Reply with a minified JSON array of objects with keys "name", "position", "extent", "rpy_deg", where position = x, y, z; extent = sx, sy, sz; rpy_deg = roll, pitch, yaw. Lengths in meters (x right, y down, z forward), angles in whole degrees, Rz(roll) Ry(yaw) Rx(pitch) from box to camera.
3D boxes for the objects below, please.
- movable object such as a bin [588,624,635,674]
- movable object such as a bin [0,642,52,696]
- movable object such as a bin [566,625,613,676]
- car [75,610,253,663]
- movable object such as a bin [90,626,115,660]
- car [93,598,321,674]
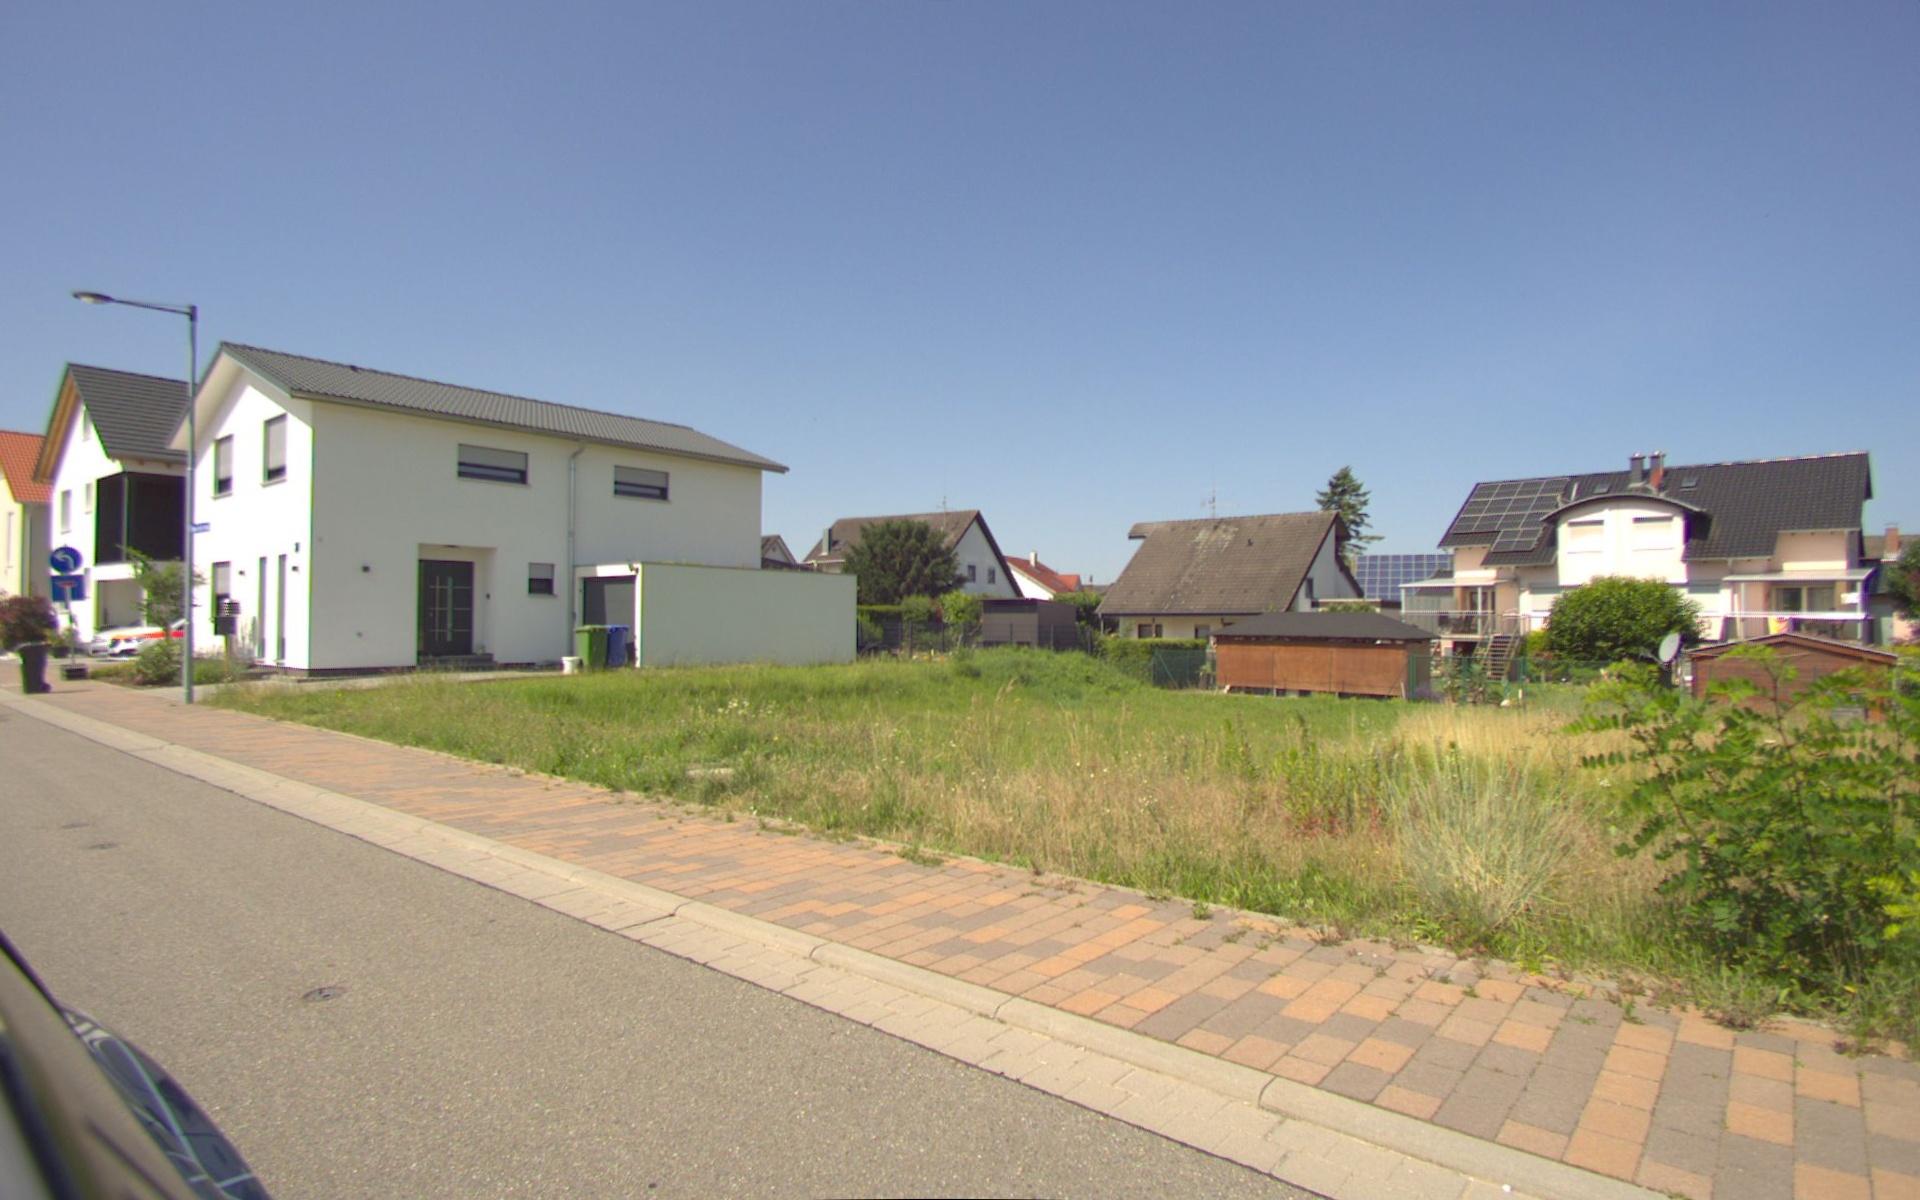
[{"name":"movable object such as a bin","position":[-7.949,1.120,23.076],"extent":[0.807,1.107,0.663],"rpy_deg":[-1,-3,41]},{"name":"movable object such as a bin","position":[-17.459,1.282,18.911],"extent":[0.499,0.955,0.617],"rpy_deg":[0,-1,35]},{"name":"movable object such as a bin","position":[-8.247,1.109,22.517],"extent":[0.784,1.107,0.653],"rpy_deg":[-1,-3,39]},{"name":"car","position":[-25.220,1.164,32.204],"extent":[1.741,1.574,4.117],"rpy_deg":[-1,-2,34]},{"name":"movable object such as a bin","position":[-28.284,1.431,33.396],"extent":[0.600,1.100,0.494],"rpy_deg":[-3,-3,36]},{"name":"car","position":[-20.631,0.976,27.921],"extent":[1.935,1.889,4.692],"rpy_deg":[-1,-2,37]}]
